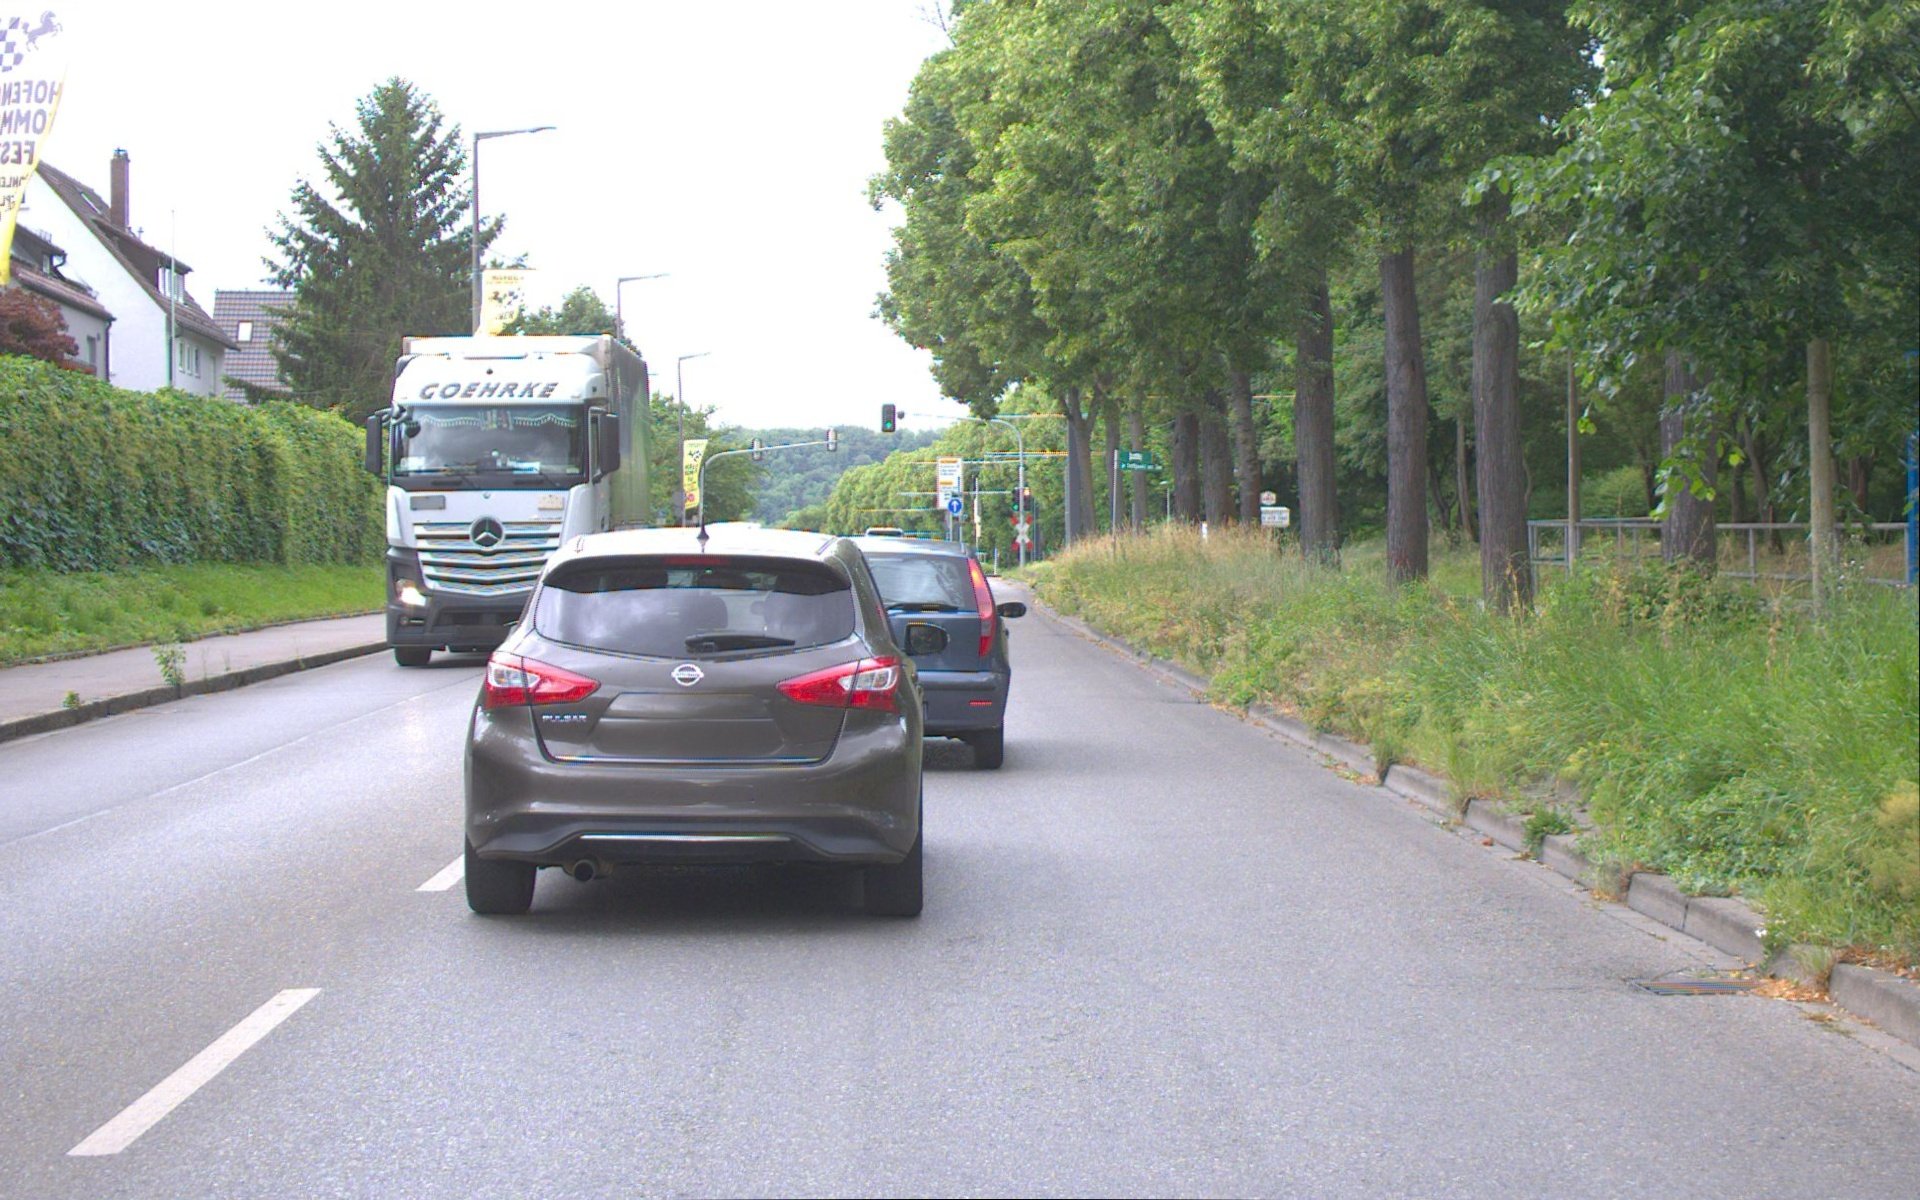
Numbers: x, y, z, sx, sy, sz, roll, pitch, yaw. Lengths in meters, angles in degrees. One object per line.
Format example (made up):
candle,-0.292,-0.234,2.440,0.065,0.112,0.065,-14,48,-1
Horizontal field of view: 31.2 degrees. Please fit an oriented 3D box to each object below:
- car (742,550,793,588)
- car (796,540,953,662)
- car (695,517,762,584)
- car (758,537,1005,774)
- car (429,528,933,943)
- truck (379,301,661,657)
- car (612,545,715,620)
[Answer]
car,-7.376,-1.186,131.847,1.886,1.378,4.491,-1,1,-3
car,-1.006,-0.022,41.259,1.792,1.392,4.000,0,1,-1
car,-6.880,-1.495,102.420,1.906,1.925,4.912,-1,1,-3
car,-0.520,0.311,23.375,1.538,1.473,3.764,0,1,-1
car,-1.051,0.452,14.791,1.835,1.514,4.483,0,1,-1
truck,-5.543,-1.447,45.039,2.549,4.030,10.621,-2,1,-2
car,-5.730,-0.362,66.898,1.732,1.370,4.240,-1,1,-2
